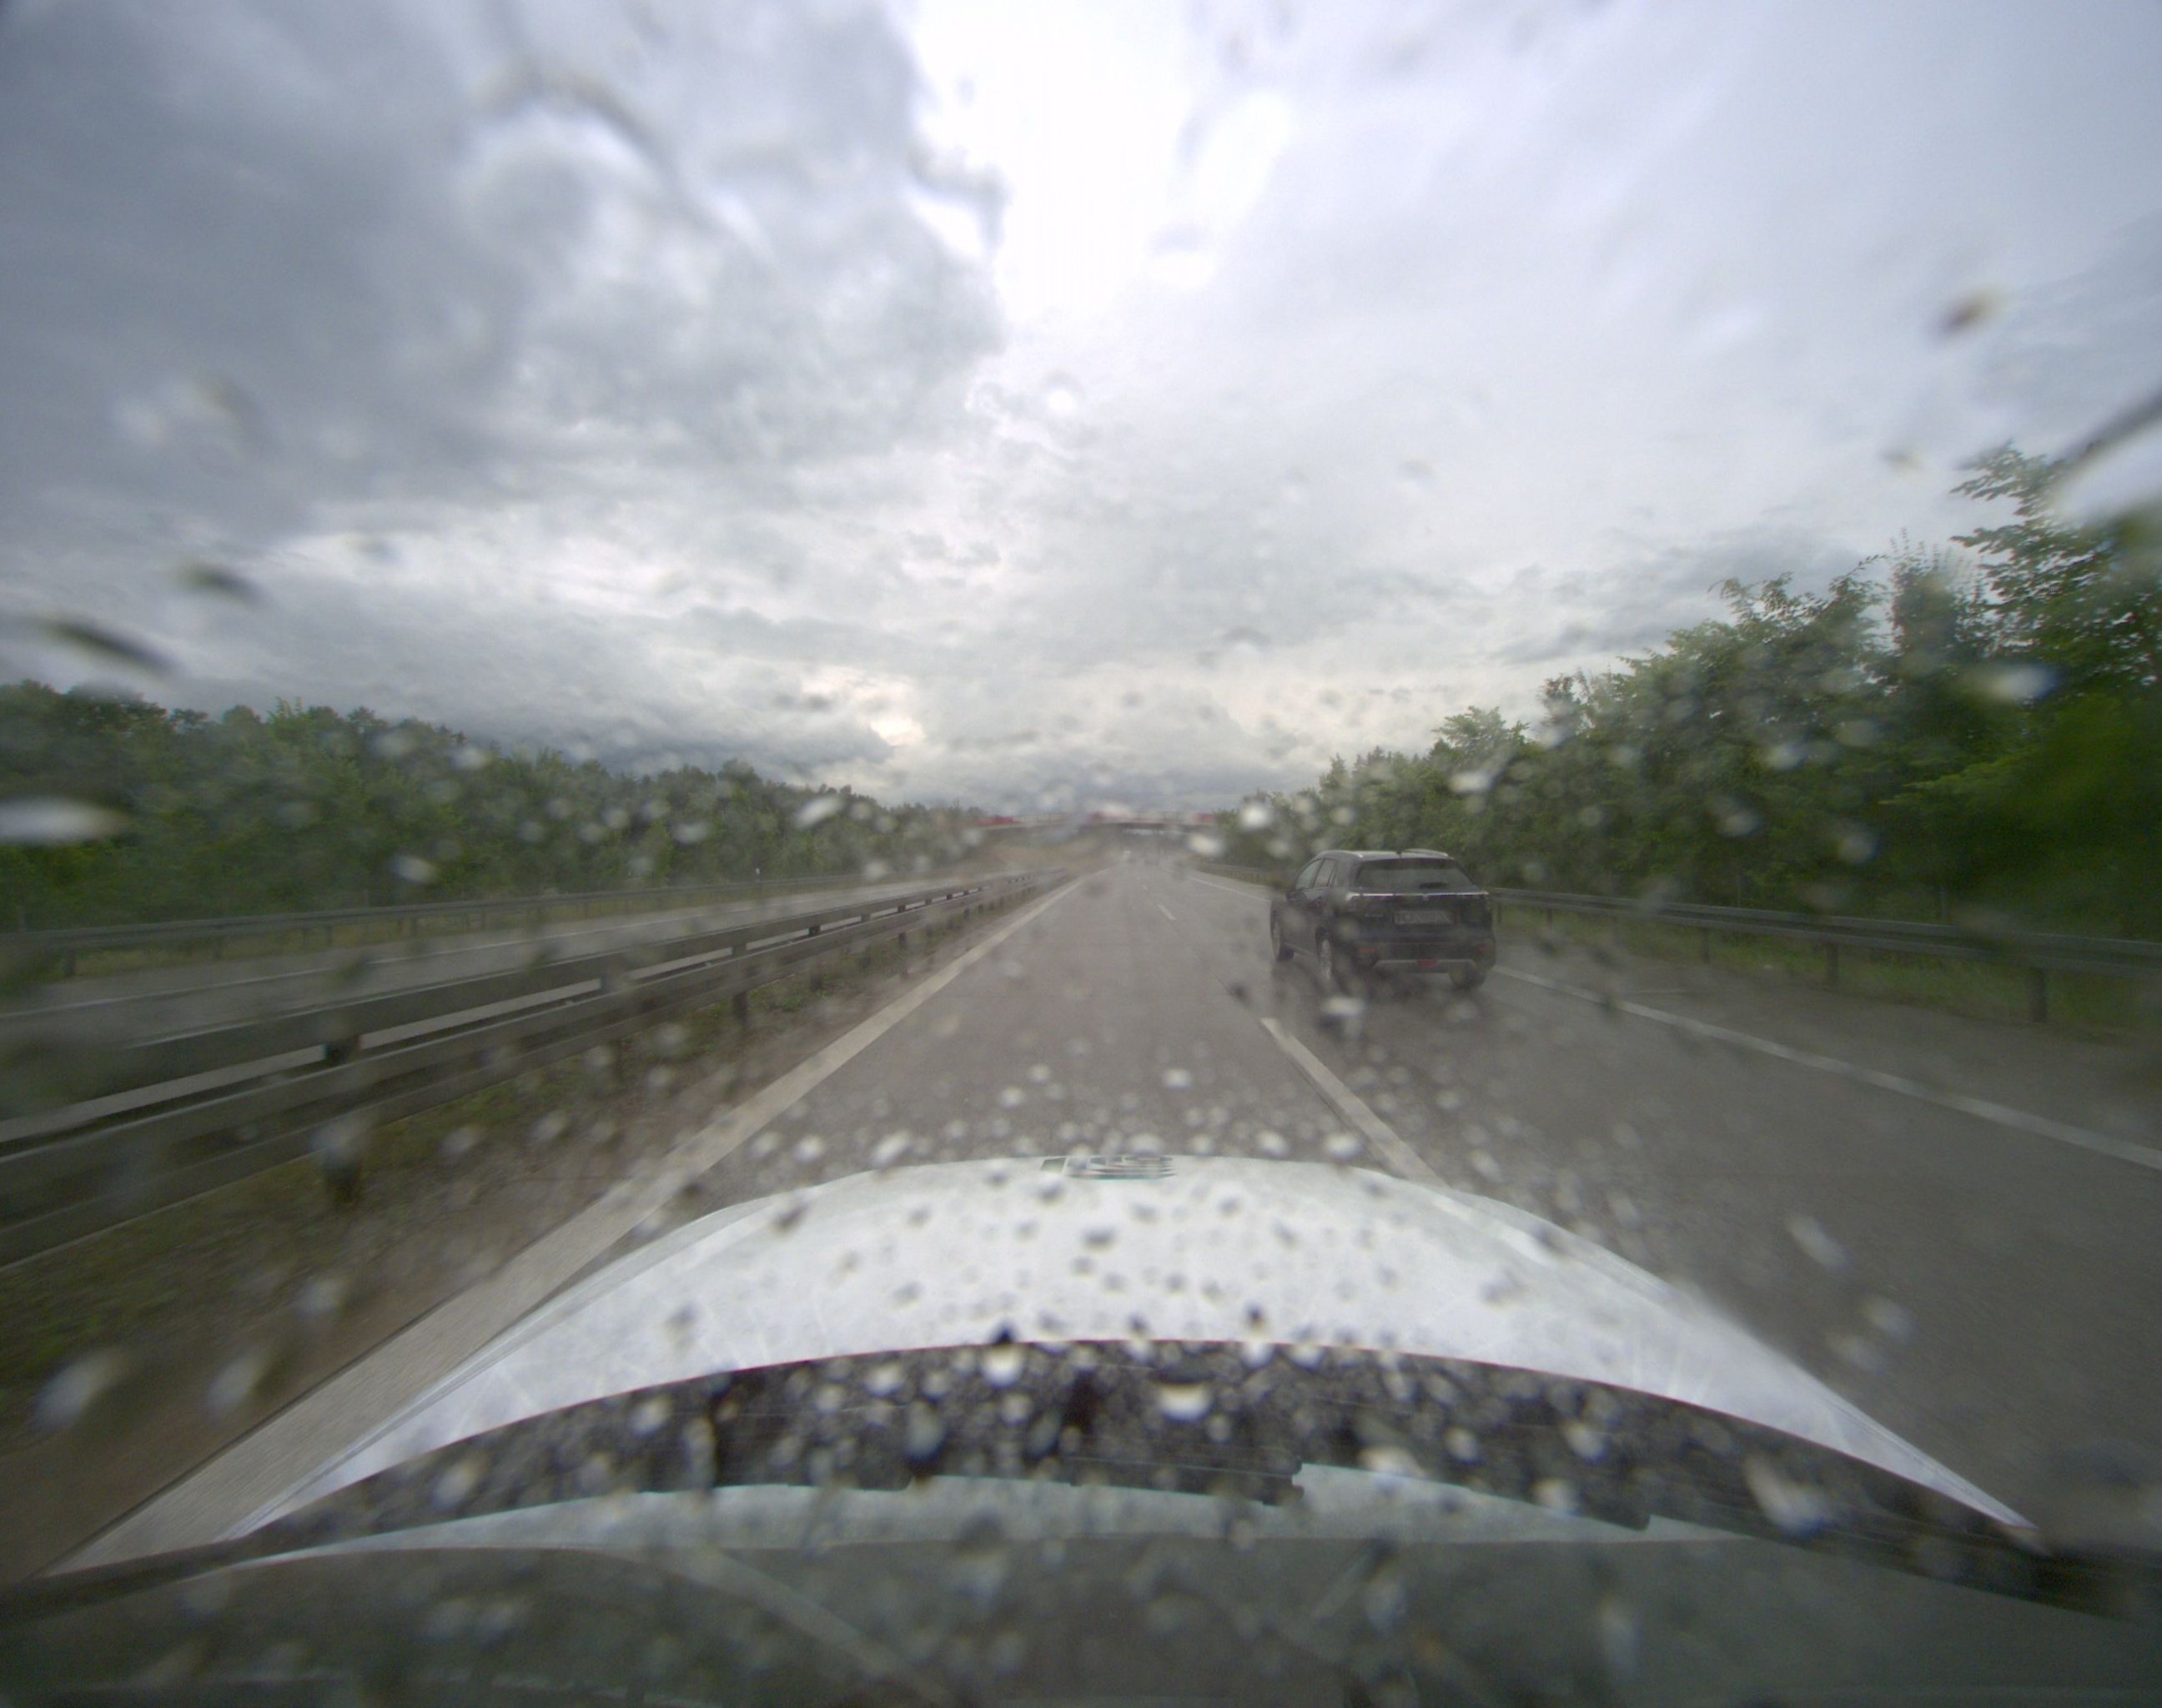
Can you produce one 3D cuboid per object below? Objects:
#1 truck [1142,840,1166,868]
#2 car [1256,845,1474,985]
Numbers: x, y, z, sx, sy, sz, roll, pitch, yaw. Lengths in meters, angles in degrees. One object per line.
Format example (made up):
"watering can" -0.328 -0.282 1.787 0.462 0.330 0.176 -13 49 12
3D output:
"truck" 12.102 0.041 134.602 3.225 4.437 8.266 -1 0 9
"car" 3.599 0.699 11.035 1.886 1.576 3.635 0 0 3
